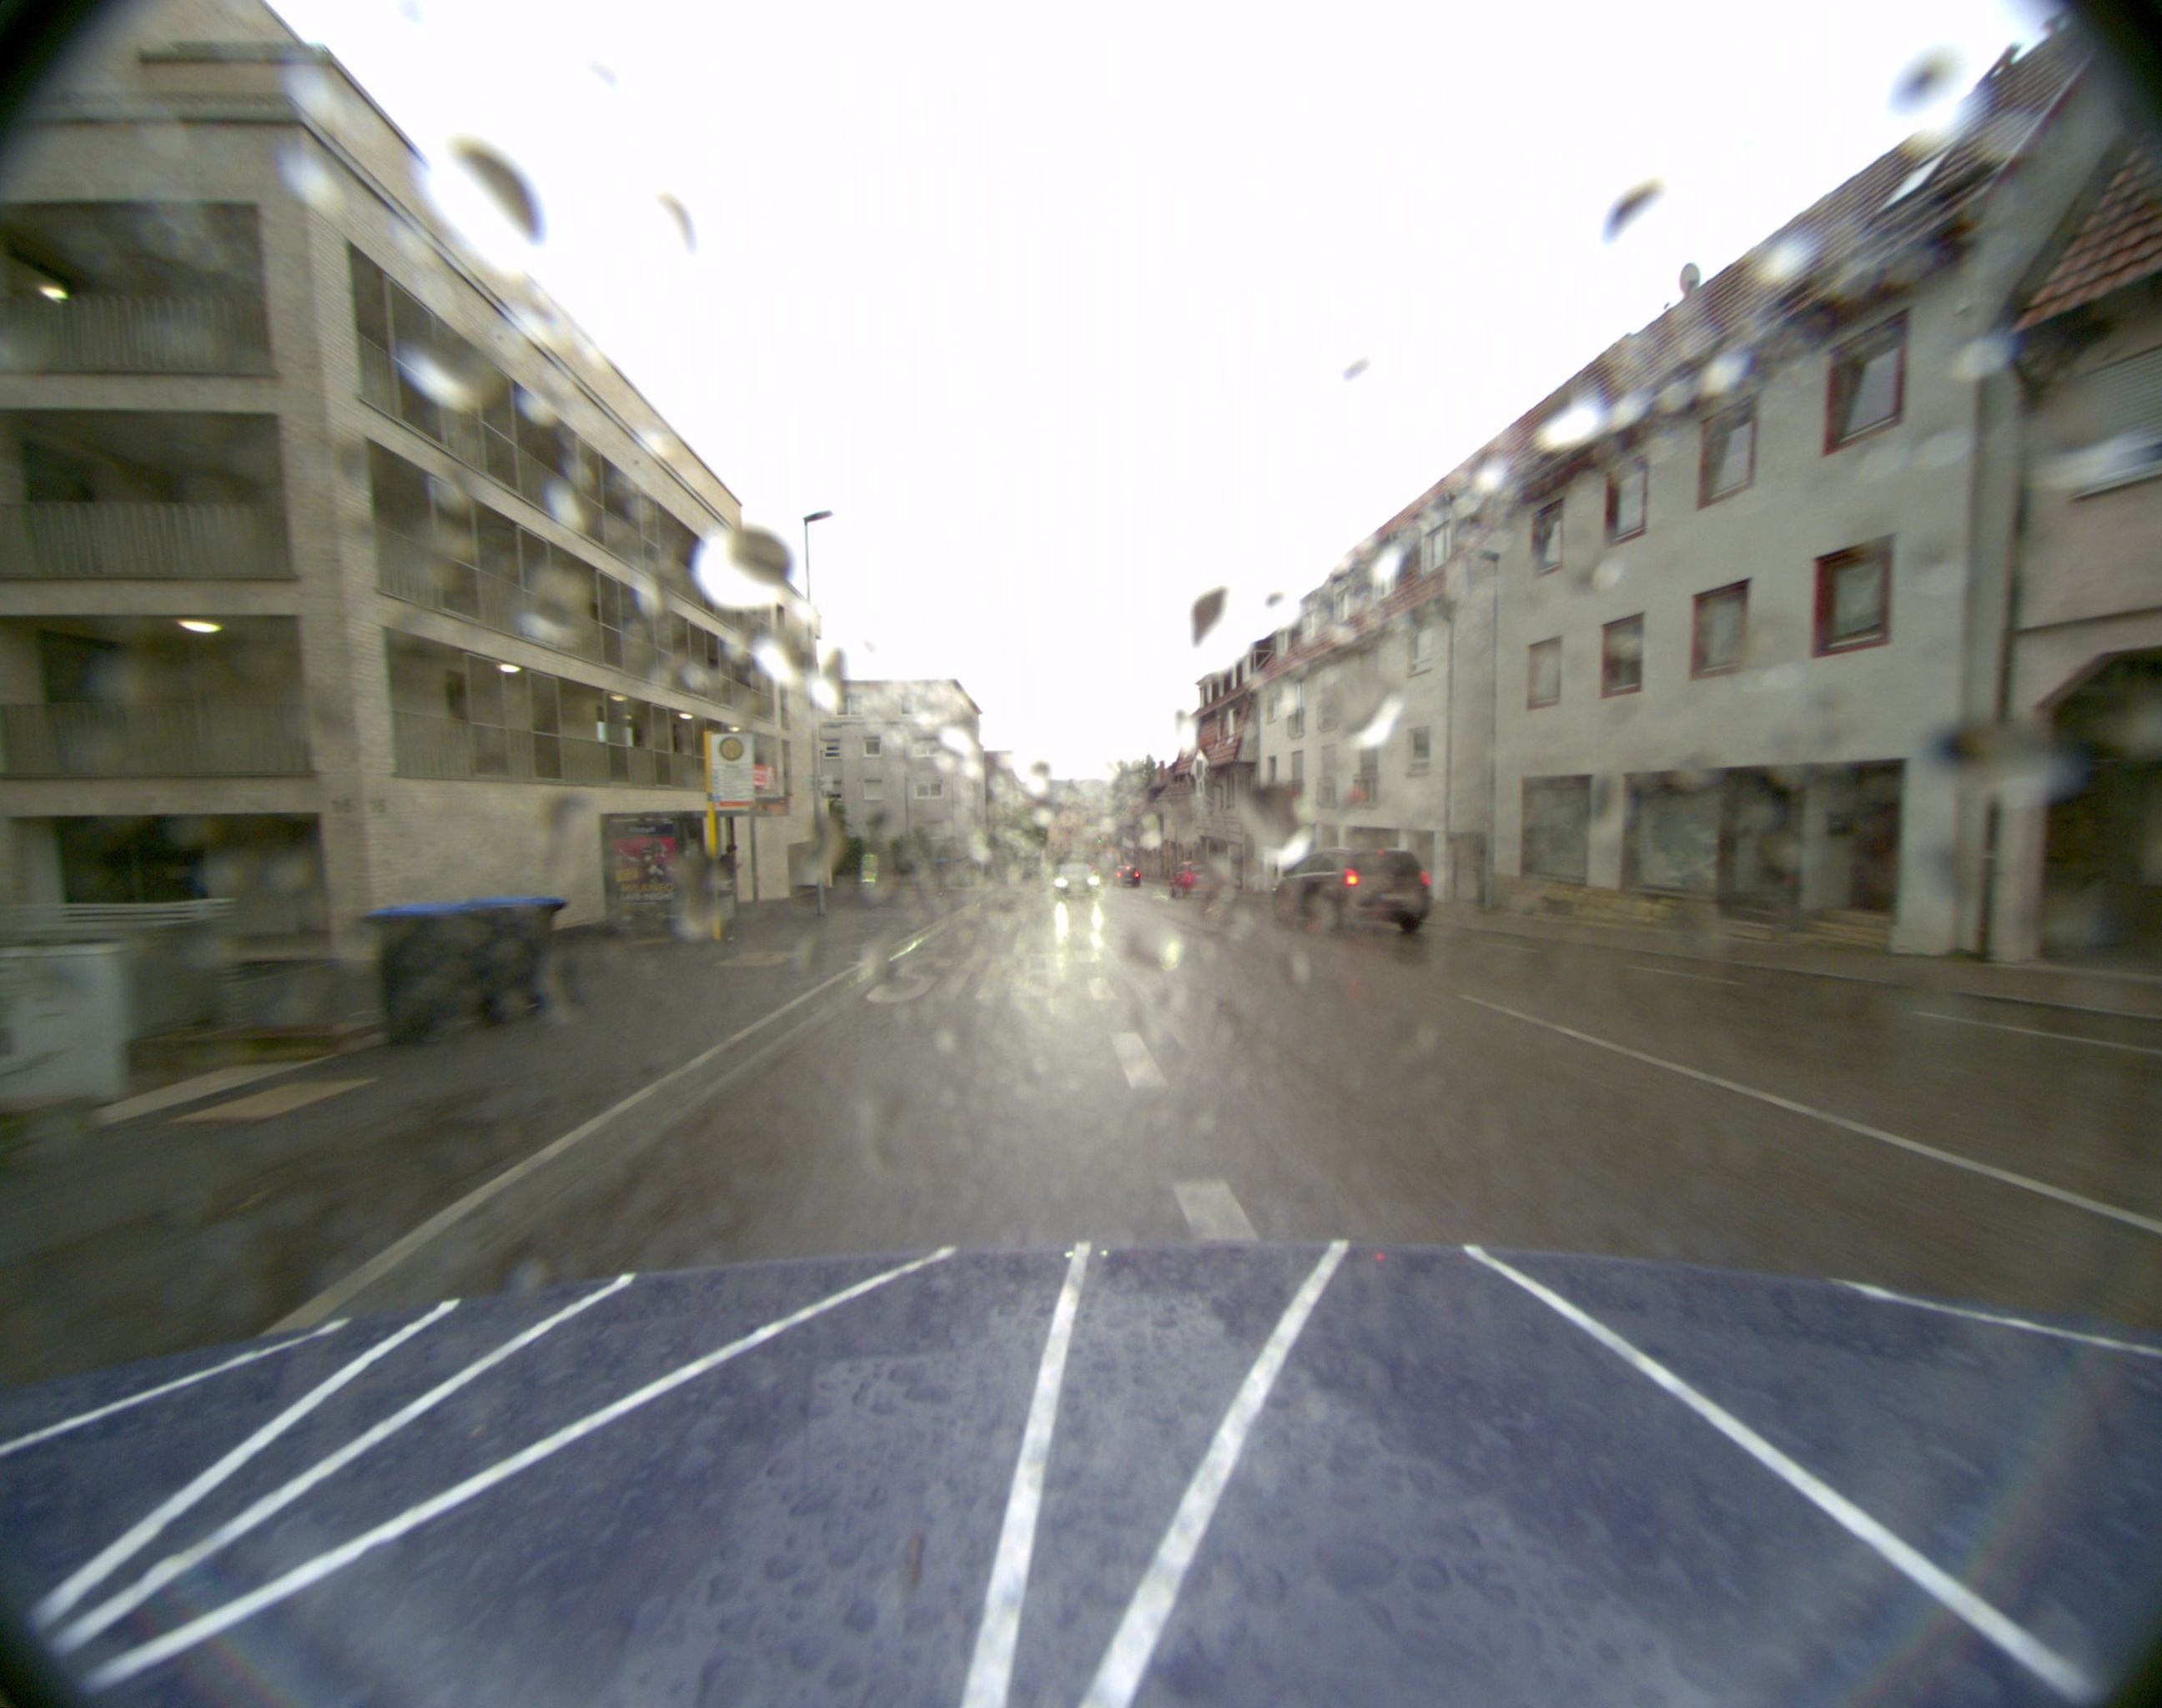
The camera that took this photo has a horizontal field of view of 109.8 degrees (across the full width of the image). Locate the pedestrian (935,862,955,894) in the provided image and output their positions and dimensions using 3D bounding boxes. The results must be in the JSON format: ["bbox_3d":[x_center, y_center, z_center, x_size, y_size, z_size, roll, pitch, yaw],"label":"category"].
[{"bbox_3d":[-6.761,1.196,37.766,0.737,1.533,1.038,2,0,1],"label":"pedestrian"}]

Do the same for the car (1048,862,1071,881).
[{"bbox_3d":[-1.887,1.569,68.221,1.967,1.598,4.384,-1,-1,0],"label":"car"}]

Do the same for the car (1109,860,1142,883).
[{"bbox_3d":[2.984,1.176,51.582,1.692,1.435,3.908,-1,0,-4],"label":"car"}]

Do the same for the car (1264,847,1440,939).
[{"bbox_3d":[5.400,0.693,15.766,1.787,1.620,4.213,-1,0,-6],"label":"car"}]

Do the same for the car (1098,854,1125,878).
[{"bbox_3d":[2.463,0.952,62.954,1.937,1.896,5.042,-1,0,0],"label":"car"}]

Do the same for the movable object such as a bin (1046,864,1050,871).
[{"bbox_3d":[-4.884,1.929,112.476,0.596,1.022,0.476,1,0,1],"label":"movable object such as a bin"}]

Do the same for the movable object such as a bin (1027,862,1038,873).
[{"bbox_3d":[-6.036,1.668,94.090,1.238,1.327,1.172,0,0,1],"label":"movable object such as a bin"}]

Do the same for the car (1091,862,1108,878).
[{"bbox_3d":[2.084,1.831,86.244,1.786,1.684,4.459,-1,0,0],"label":"car"}]

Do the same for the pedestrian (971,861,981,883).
[{"bbox_3d":[-7.476,1.299,54.082,0.692,1.546,0.710,-2,0,-7],"label":"pedestrian"}]

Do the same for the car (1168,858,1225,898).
[{"bbox_3d":[4.633,0.918,30.895,1.563,1.527,3.448,0,0,-3],"label":"car"}]

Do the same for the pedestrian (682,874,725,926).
[{"bbox_3d":[-8.776,1.060,17.670,0.673,1.155,0.635,1,0,-1],"label":"pedestrian"}]

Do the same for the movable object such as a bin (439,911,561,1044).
[{"bbox_3d":[-5.029,1.048,6.610,0.597,1.056,0.579,-1,0,-2],"label":"movable object such as a bin"}]

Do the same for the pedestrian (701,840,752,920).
[{"bbox_3d":[-8.850,0.634,19.007,0.784,1.929,1.021,1,0,-1],"label":"pedestrian"}]

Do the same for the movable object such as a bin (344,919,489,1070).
[{"bbox_3d":[-5.110,1.057,5.874,0.597,1.056,0.579,-1,0,-2],"label":"movable object such as a bin"}]

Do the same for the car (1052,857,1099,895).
[{"bbox_3d":[-0.241,0.933,34.367,1.967,1.549,4.622,-1,0,0],"label":"car"}]

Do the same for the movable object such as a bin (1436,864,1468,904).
[{"bbox_3d":[9.615,0.767,19.706,0.509,1.000,0.585,-2,0,-5],"label":"movable object such as a bin"}]
